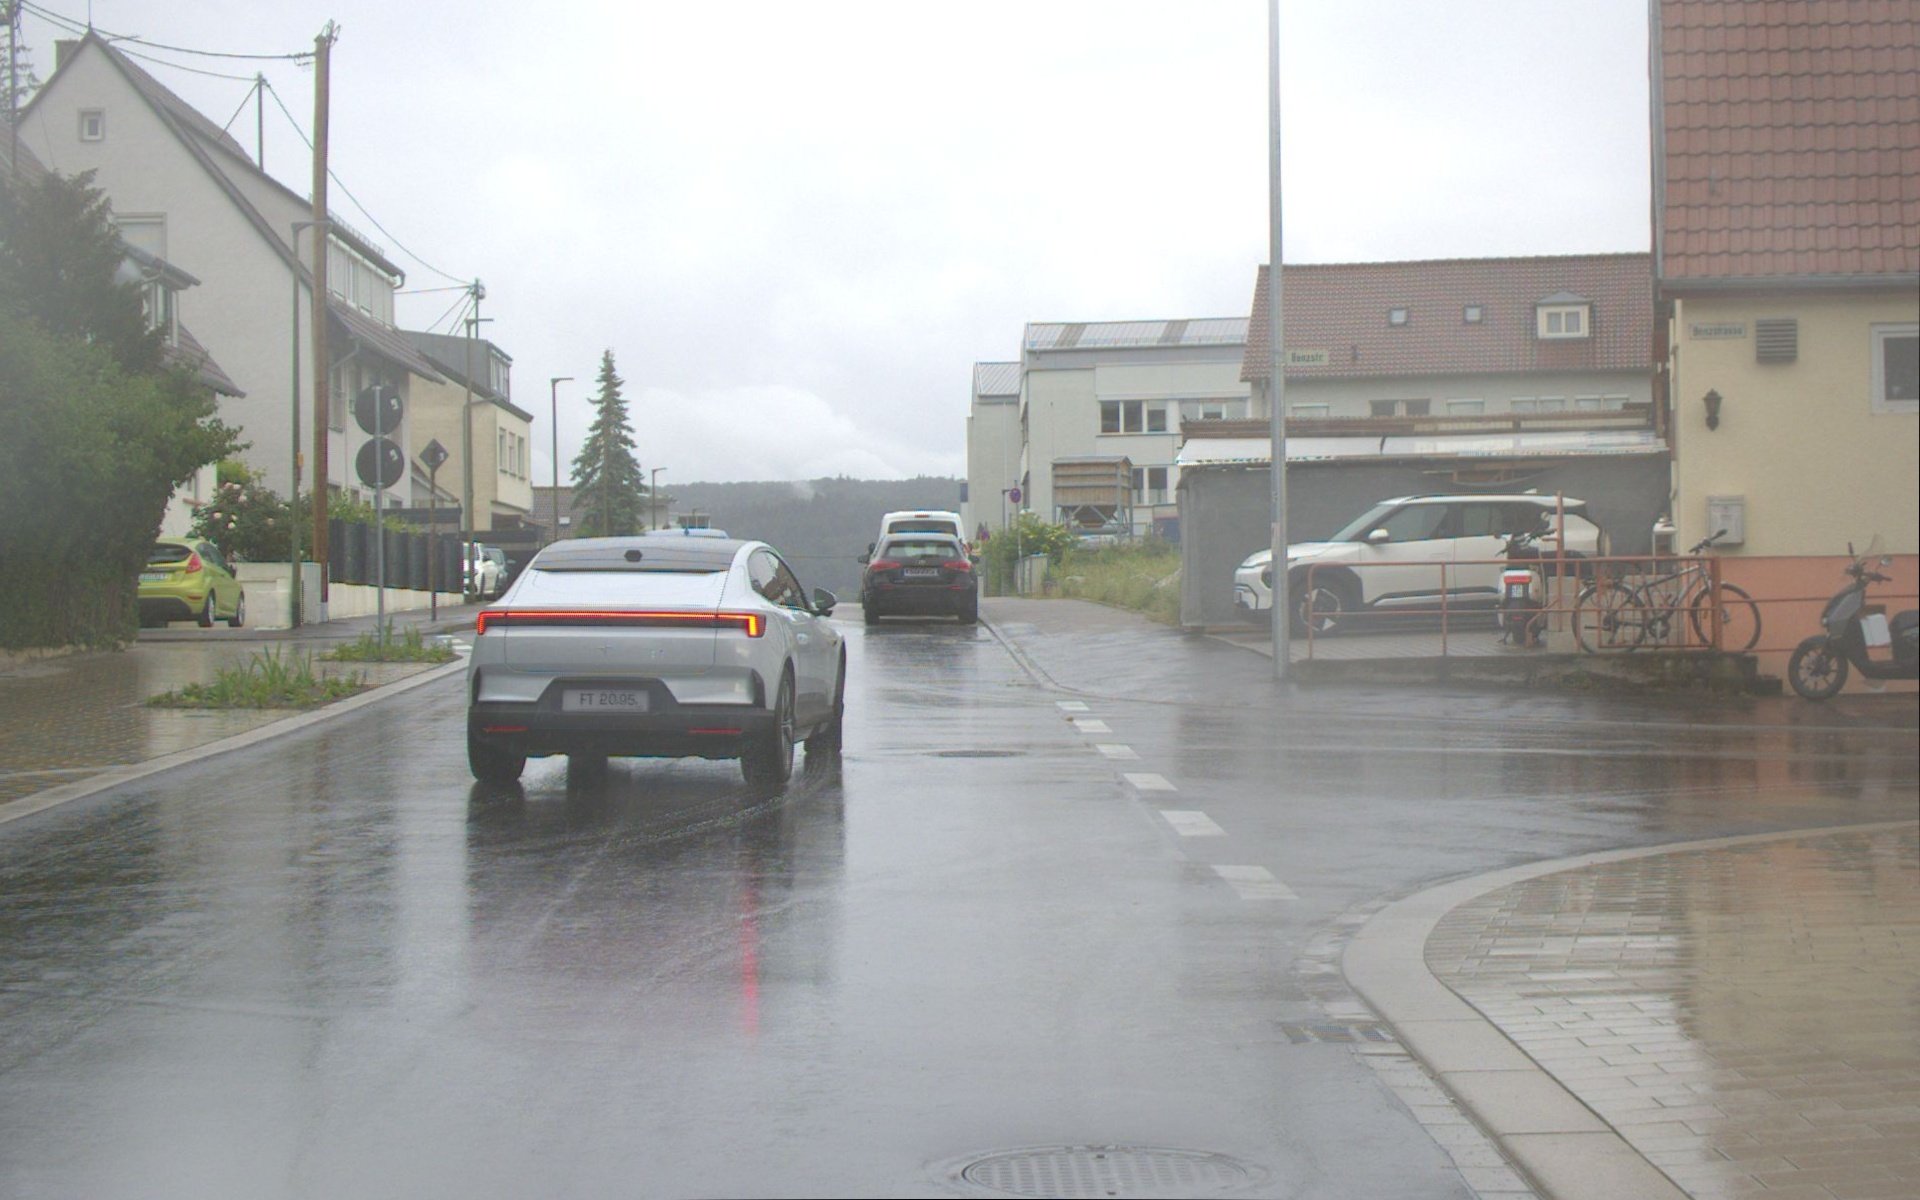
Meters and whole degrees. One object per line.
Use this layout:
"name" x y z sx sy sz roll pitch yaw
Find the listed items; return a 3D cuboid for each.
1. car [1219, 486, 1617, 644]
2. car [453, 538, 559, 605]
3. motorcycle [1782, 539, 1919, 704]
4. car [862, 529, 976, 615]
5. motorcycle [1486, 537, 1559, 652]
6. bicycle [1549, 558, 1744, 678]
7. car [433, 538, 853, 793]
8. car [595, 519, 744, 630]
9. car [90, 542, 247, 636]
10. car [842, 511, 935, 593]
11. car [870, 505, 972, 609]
"car" 5.226 -0.394 39.574 4.216 1.604 1.861 -2 0 -2
"car" -11.083 -0.682 84.169 1.993 1.505 4.896 3 0 -1
"motorcycle" 8.350 0.191 30.494 2.034 1.451 0.489 0 0 12
"car" -0.699 -0.452 55.584 1.768 1.331 4.321 0 0 -2
"motorcycle" 5.547 -0.072 33.976 0.488 1.092 2.000 0 2 3
"bicycle" 6.421 0.163 32.142 1.771 1.092 0.489 0 1 13
"car" -1.941 0.366 22.557 1.994 1.497 4.669 0 0 4
"car" -4.201 -0.373 50.285 1.929 1.534 4.321 0 0 -2
"car" -12.781 -0.162 55.699 1.778 1.462 3.457 0 0 0
"car" -1.457 -0.943 68.875 1.642 1.569 4.644 0 0 -4
"car" -0.747 -0.773 62.477 1.768 1.819 4.575 0 0 -2
